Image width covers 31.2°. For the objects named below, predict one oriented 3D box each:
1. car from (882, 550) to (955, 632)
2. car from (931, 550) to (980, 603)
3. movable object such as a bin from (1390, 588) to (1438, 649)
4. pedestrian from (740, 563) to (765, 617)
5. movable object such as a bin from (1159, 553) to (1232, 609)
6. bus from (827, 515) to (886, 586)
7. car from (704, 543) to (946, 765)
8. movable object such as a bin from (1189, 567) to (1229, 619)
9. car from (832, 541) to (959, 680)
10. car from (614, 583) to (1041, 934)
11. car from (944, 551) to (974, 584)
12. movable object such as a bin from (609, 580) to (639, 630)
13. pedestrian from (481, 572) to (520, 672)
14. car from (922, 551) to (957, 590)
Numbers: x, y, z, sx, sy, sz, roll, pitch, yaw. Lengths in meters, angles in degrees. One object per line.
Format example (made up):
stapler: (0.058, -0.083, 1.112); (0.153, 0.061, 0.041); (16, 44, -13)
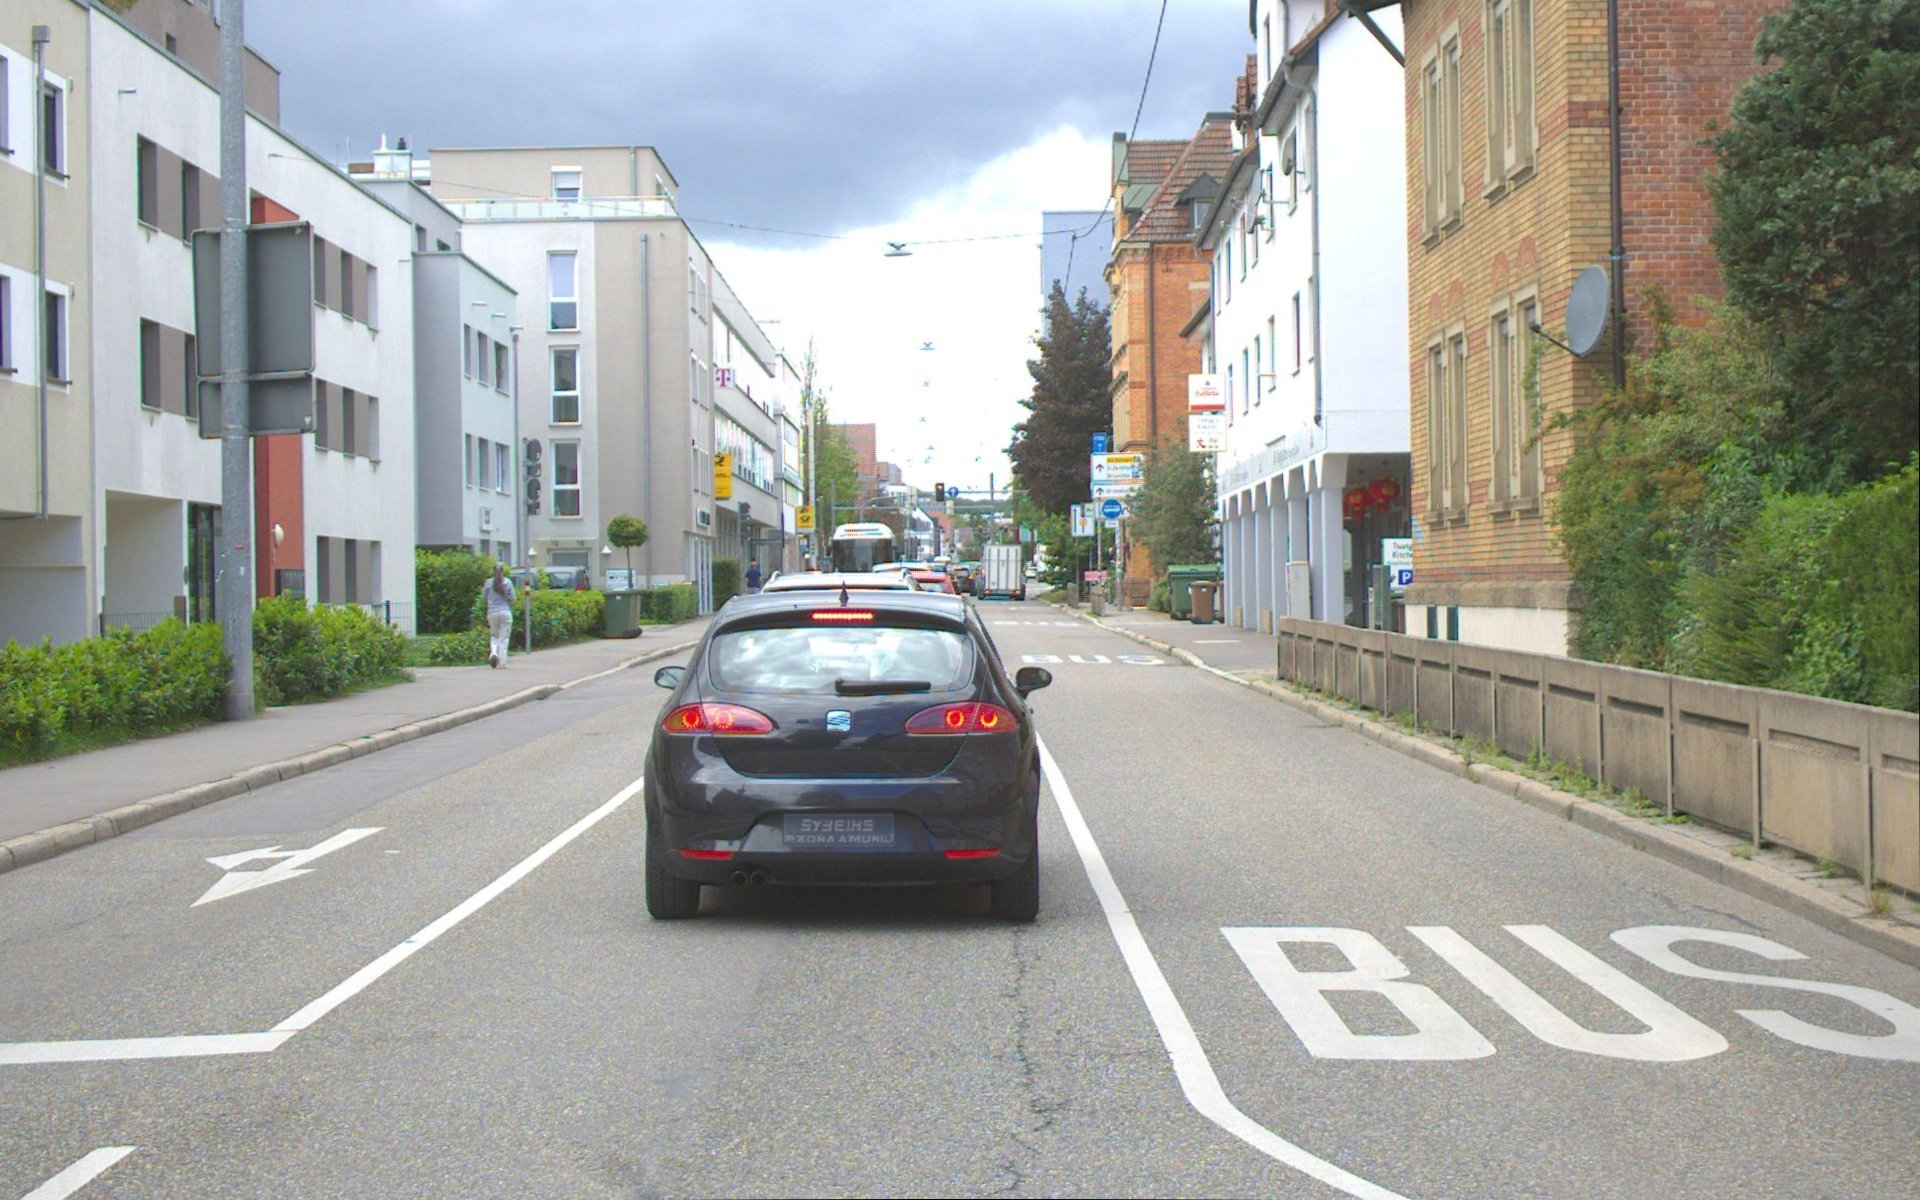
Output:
car: (-0.883, -0.199, 73.728); (1.531, 1.687, 3.693); (0, 0, 0)
car: (-0.155, -0.763, 111.245); (1.531, 1.687, 3.693); (0, 0, 0)
movable object such as a bin: (6.279, 0.254, 47.577); (0.592, 0.837, 0.458); (0, 0, 0)
pedestrian: (-6.651, -0.330, 110.220); (0.730, 1.723, 0.859); (0, 0, -1)
movable object such as a bin: (6.181, -0.494, 90.346); (1.818, 1.432, 1.993); (0, 0, 1)
bus: (-4.302, -2.040, 144.238); (2.210, 2.876, 8.919); (0, 0, 0)
car: (-1.048, 0.401, 28.308); (1.842, 1.687, 4.000); (0, 0, 0)
movable object such as a bin: (6.230, -0.175, 85.979); (0.928, 1.279, 0.883); (0, 0, 1)
car: (-0.794, 0.120, 43.689); (1.531, 1.687, 3.693); (0, 0, 0)
car: (-0.553, 0.648, 16.244); (1.759, 1.437, 4.000); (0, 0, 0)
car: (-0.050, -1.717, 179.209); (1.531, 1.687, 3.693); (-1, 1, 0)
movable object such as a bin: (-7.179, 0.103, 73.453); (0.549, 1.075, 0.612); (0, 0, 1)
pedestrian: (-7.122, 0.337, 53.338); (0.526, 1.542, 0.541); (0, 0, 0)
car: (-0.910, -1.315, 152.571); (1.531, 1.687, 3.693); (-1, 1, 0)
